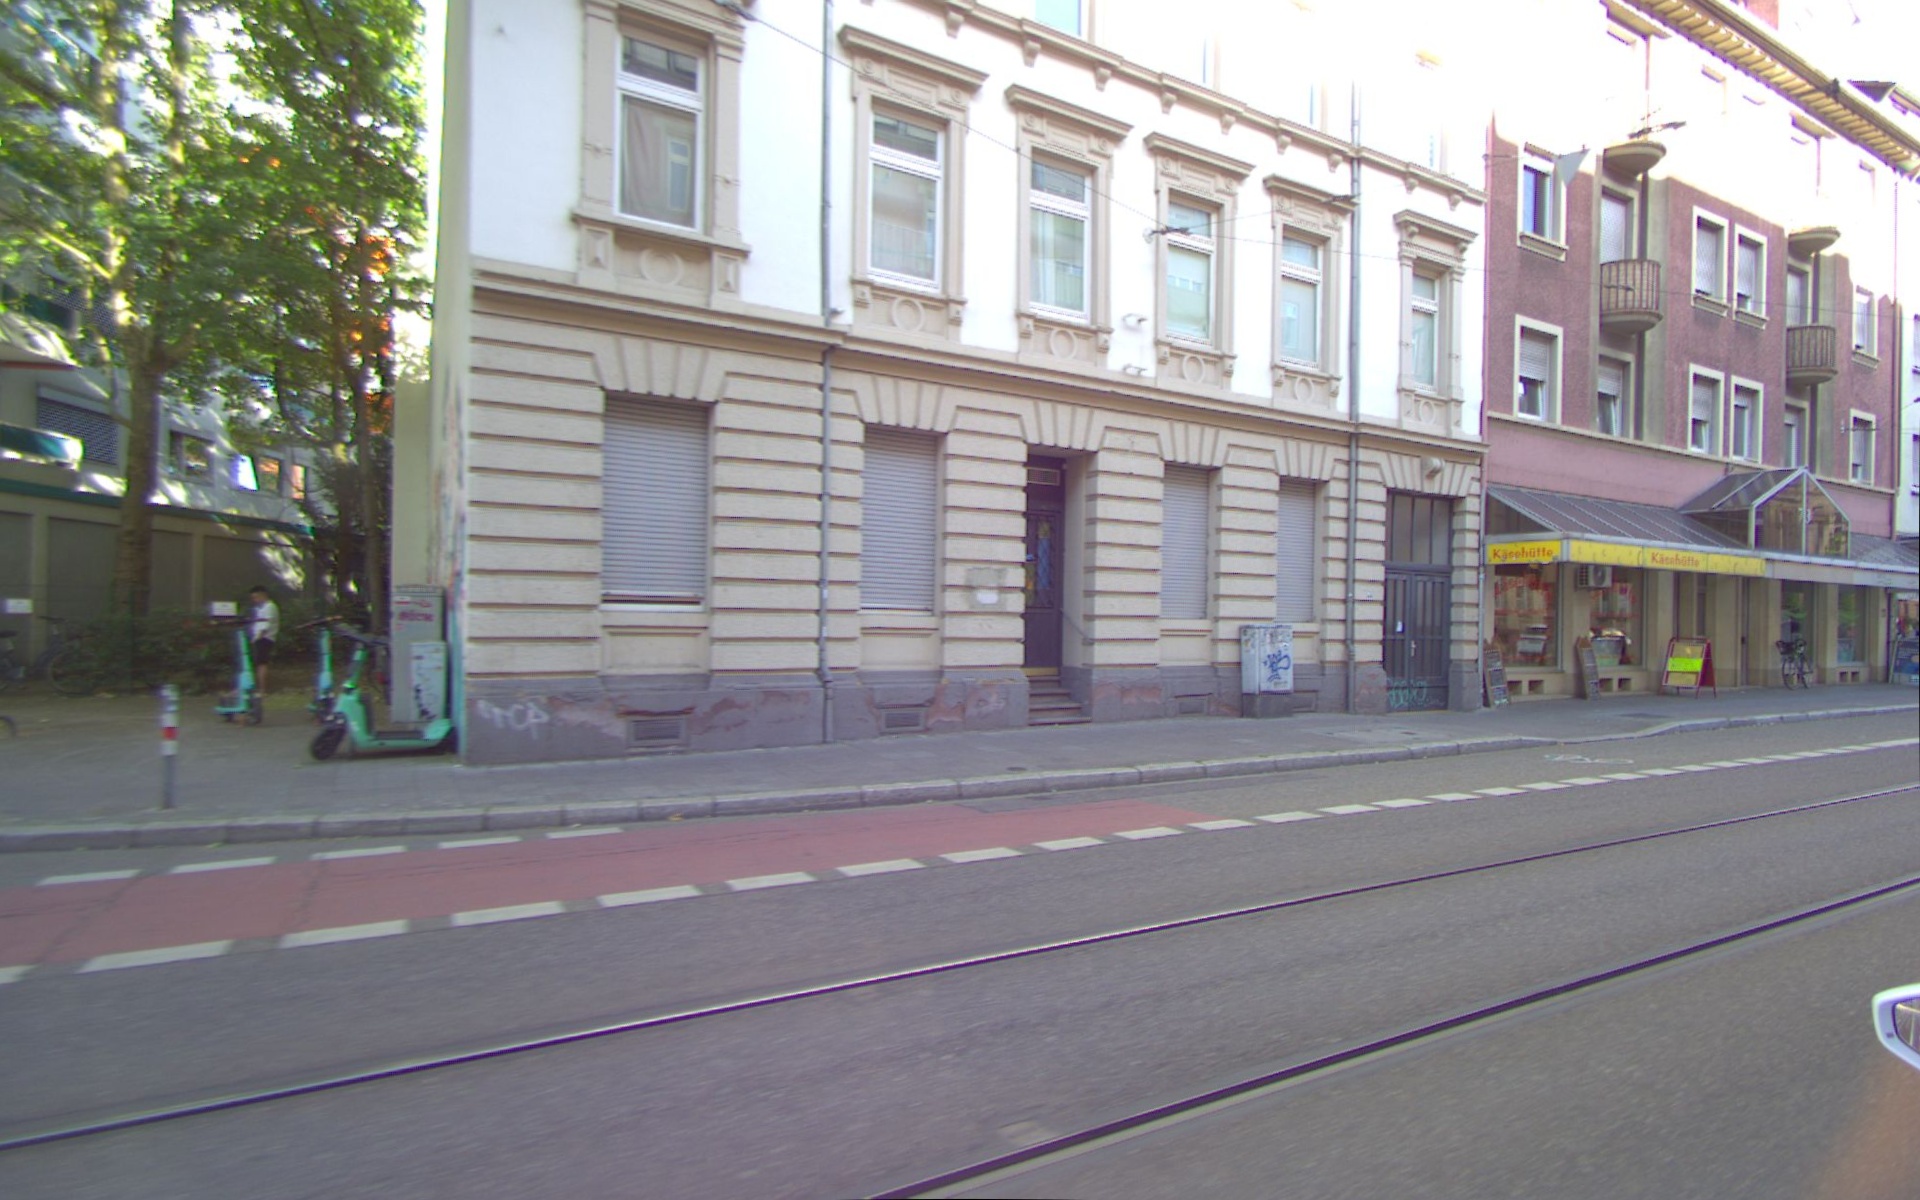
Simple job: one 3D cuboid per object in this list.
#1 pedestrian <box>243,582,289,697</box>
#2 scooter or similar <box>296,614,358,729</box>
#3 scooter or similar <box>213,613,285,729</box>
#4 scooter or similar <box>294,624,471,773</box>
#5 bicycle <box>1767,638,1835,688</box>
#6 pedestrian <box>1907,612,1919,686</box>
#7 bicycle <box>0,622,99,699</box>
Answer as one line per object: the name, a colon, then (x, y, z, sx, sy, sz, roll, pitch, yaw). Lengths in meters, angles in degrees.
pedestrian: (-10.650, 0.602, 15.419, 0.477, 1.728, 0.398, 2, 0, -24)
scooter or similar: (-7.493, 0.812, 11.925, 0.475, 1.246, 1.373, 2, 0, -27)
scooter or similar: (-8.282, 0.798, 11.742, 0.475, 1.246, 1.373, 2, 0, -27)
scooter or similar: (-5.367, 0.887, 9.396, 1.367, 1.292, 0.575, 2, 0, -30)
bicycle: (19.180, 1.429, 22.893, 2.302, 1.074, 0.422, 2, 0, -31)
pedestrian: (23.869, 1.215, 24.693, 0.811, 1.813, 0.623, 2, 0, -30)
bicycle: (-14.052, 0.903, 15.086, 1.596, 1.108, 0.508, 2, 0, -19)
